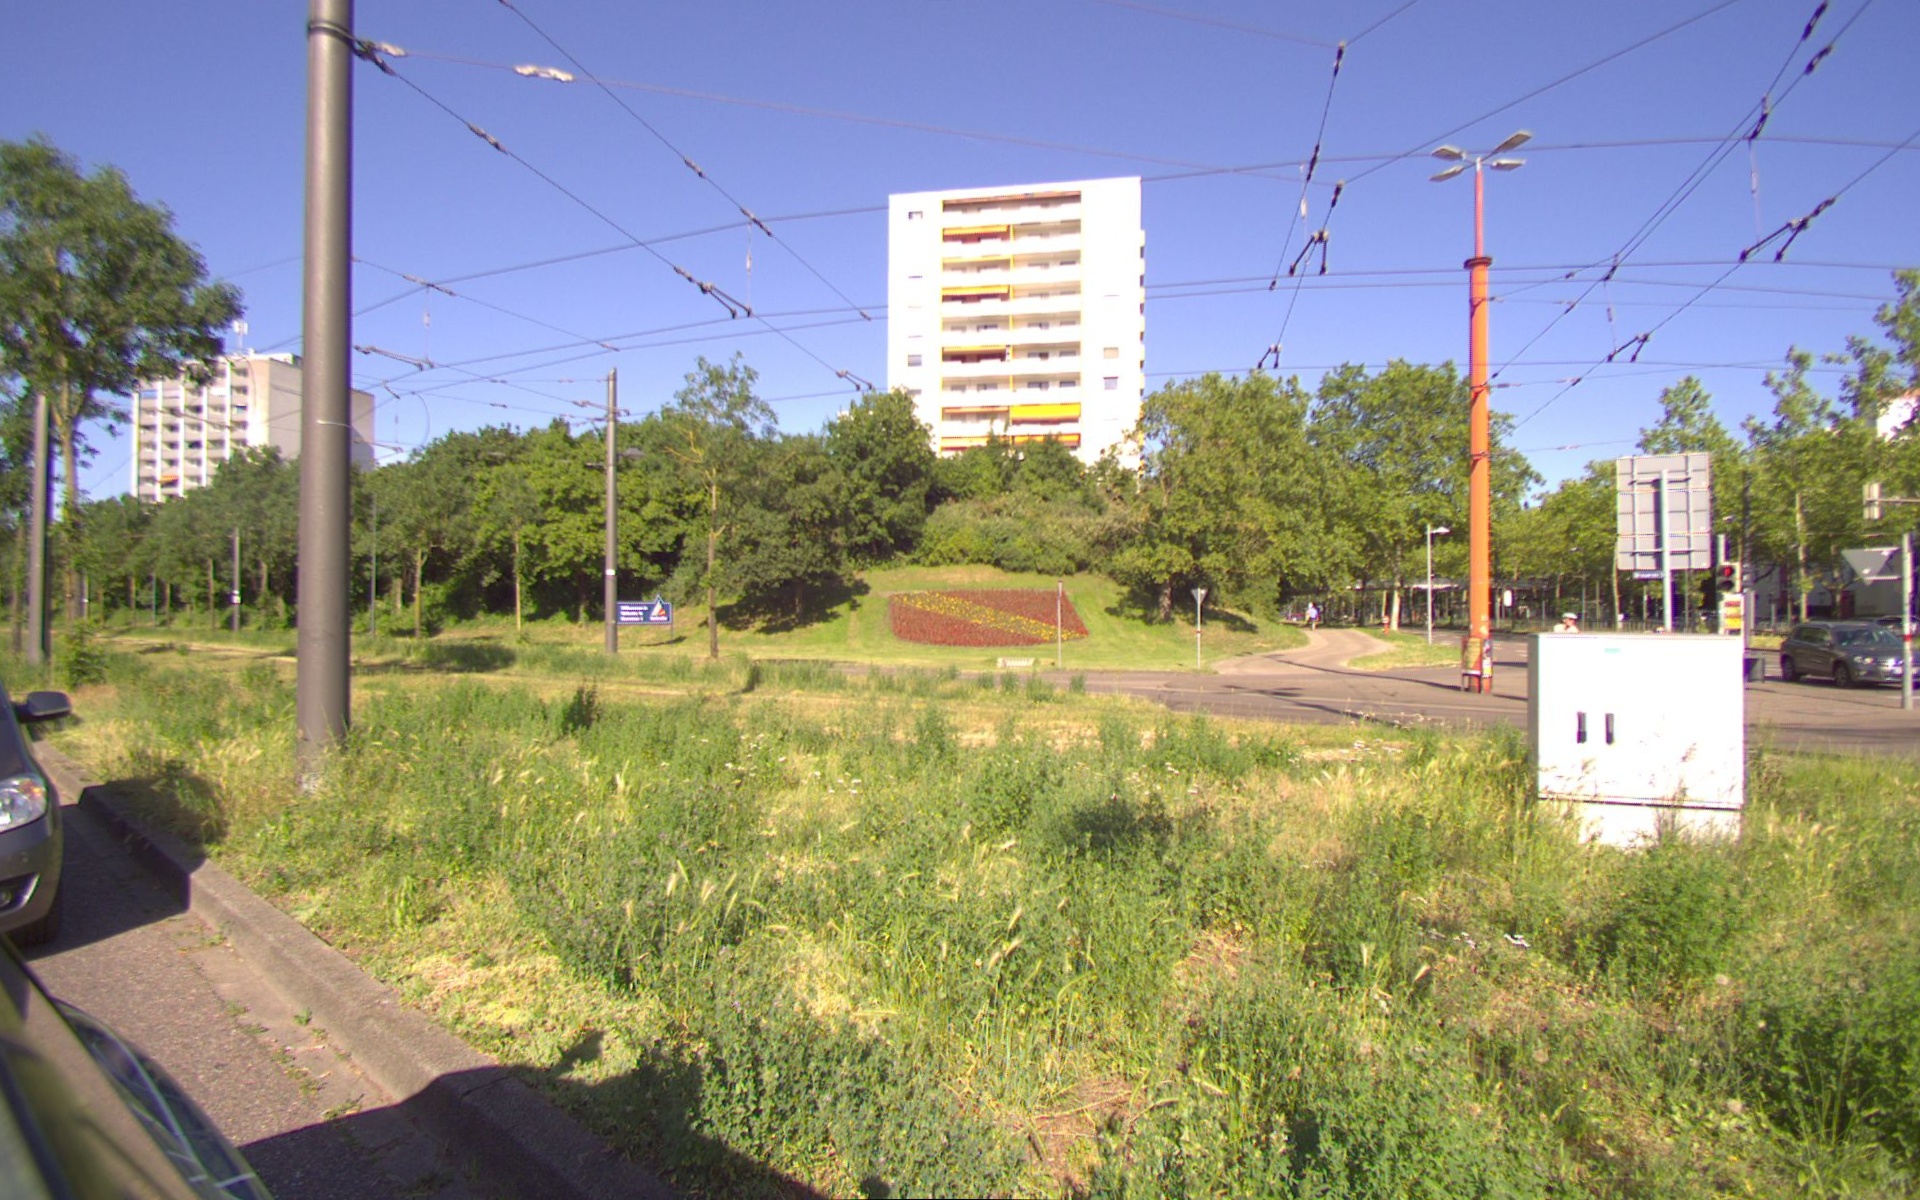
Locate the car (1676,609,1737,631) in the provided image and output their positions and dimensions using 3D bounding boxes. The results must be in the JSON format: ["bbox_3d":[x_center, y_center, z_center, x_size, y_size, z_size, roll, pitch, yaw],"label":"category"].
[{"bbox_3d":[72.141,1.947,97.872,1.909,1.999,4.350,1,-2,-38],"label":"car"}]

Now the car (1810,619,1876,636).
[{"bbox_3d":[64.404,1.995,73.846,1.425,1.197,3.423,-1,0,-41],"label":"car"}]

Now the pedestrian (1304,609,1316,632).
[{"bbox_3d":[23.516,1.377,67.942,0.682,1.568,0.984,-1,0,22],"label":"pedestrian"}]

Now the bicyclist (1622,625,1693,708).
[{"bbox_3d":[13.489,1.267,19.587,0.710,1.536,0.924,-1,0,0],"label":"bicyclist"}]

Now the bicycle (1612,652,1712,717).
[{"bbox_3d":[13.502,1.597,19.538,0.571,1.079,1.916,-1,0,0],"label":"bicycle"}]

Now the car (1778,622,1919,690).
[{"bbox_3d":[23.183,1.375,25.941,1.900,1.507,4.026,-1,0,15],"label":"car"}]

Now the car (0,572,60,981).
[{"bbox_3d":[-5.826,0.752,4.891,3.998,1.652,1.726,-1,0,41],"label":"car"}]

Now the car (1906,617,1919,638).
[{"bbox_3d":[63.685,1.783,65.163,1.472,1.341,3.746,-1,0,-27],"label":"car"}]

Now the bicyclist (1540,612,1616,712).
[{"bbox_3d":[12.113,1.193,19.873,0.880,1.881,0.924,-1,0,-2],"label":"bicyclist"}]

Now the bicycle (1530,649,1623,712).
[{"bbox_3d":[12.067,1.549,19.890,0.571,1.079,1.917,-1,0,-3],"label":"bicycle"}]
